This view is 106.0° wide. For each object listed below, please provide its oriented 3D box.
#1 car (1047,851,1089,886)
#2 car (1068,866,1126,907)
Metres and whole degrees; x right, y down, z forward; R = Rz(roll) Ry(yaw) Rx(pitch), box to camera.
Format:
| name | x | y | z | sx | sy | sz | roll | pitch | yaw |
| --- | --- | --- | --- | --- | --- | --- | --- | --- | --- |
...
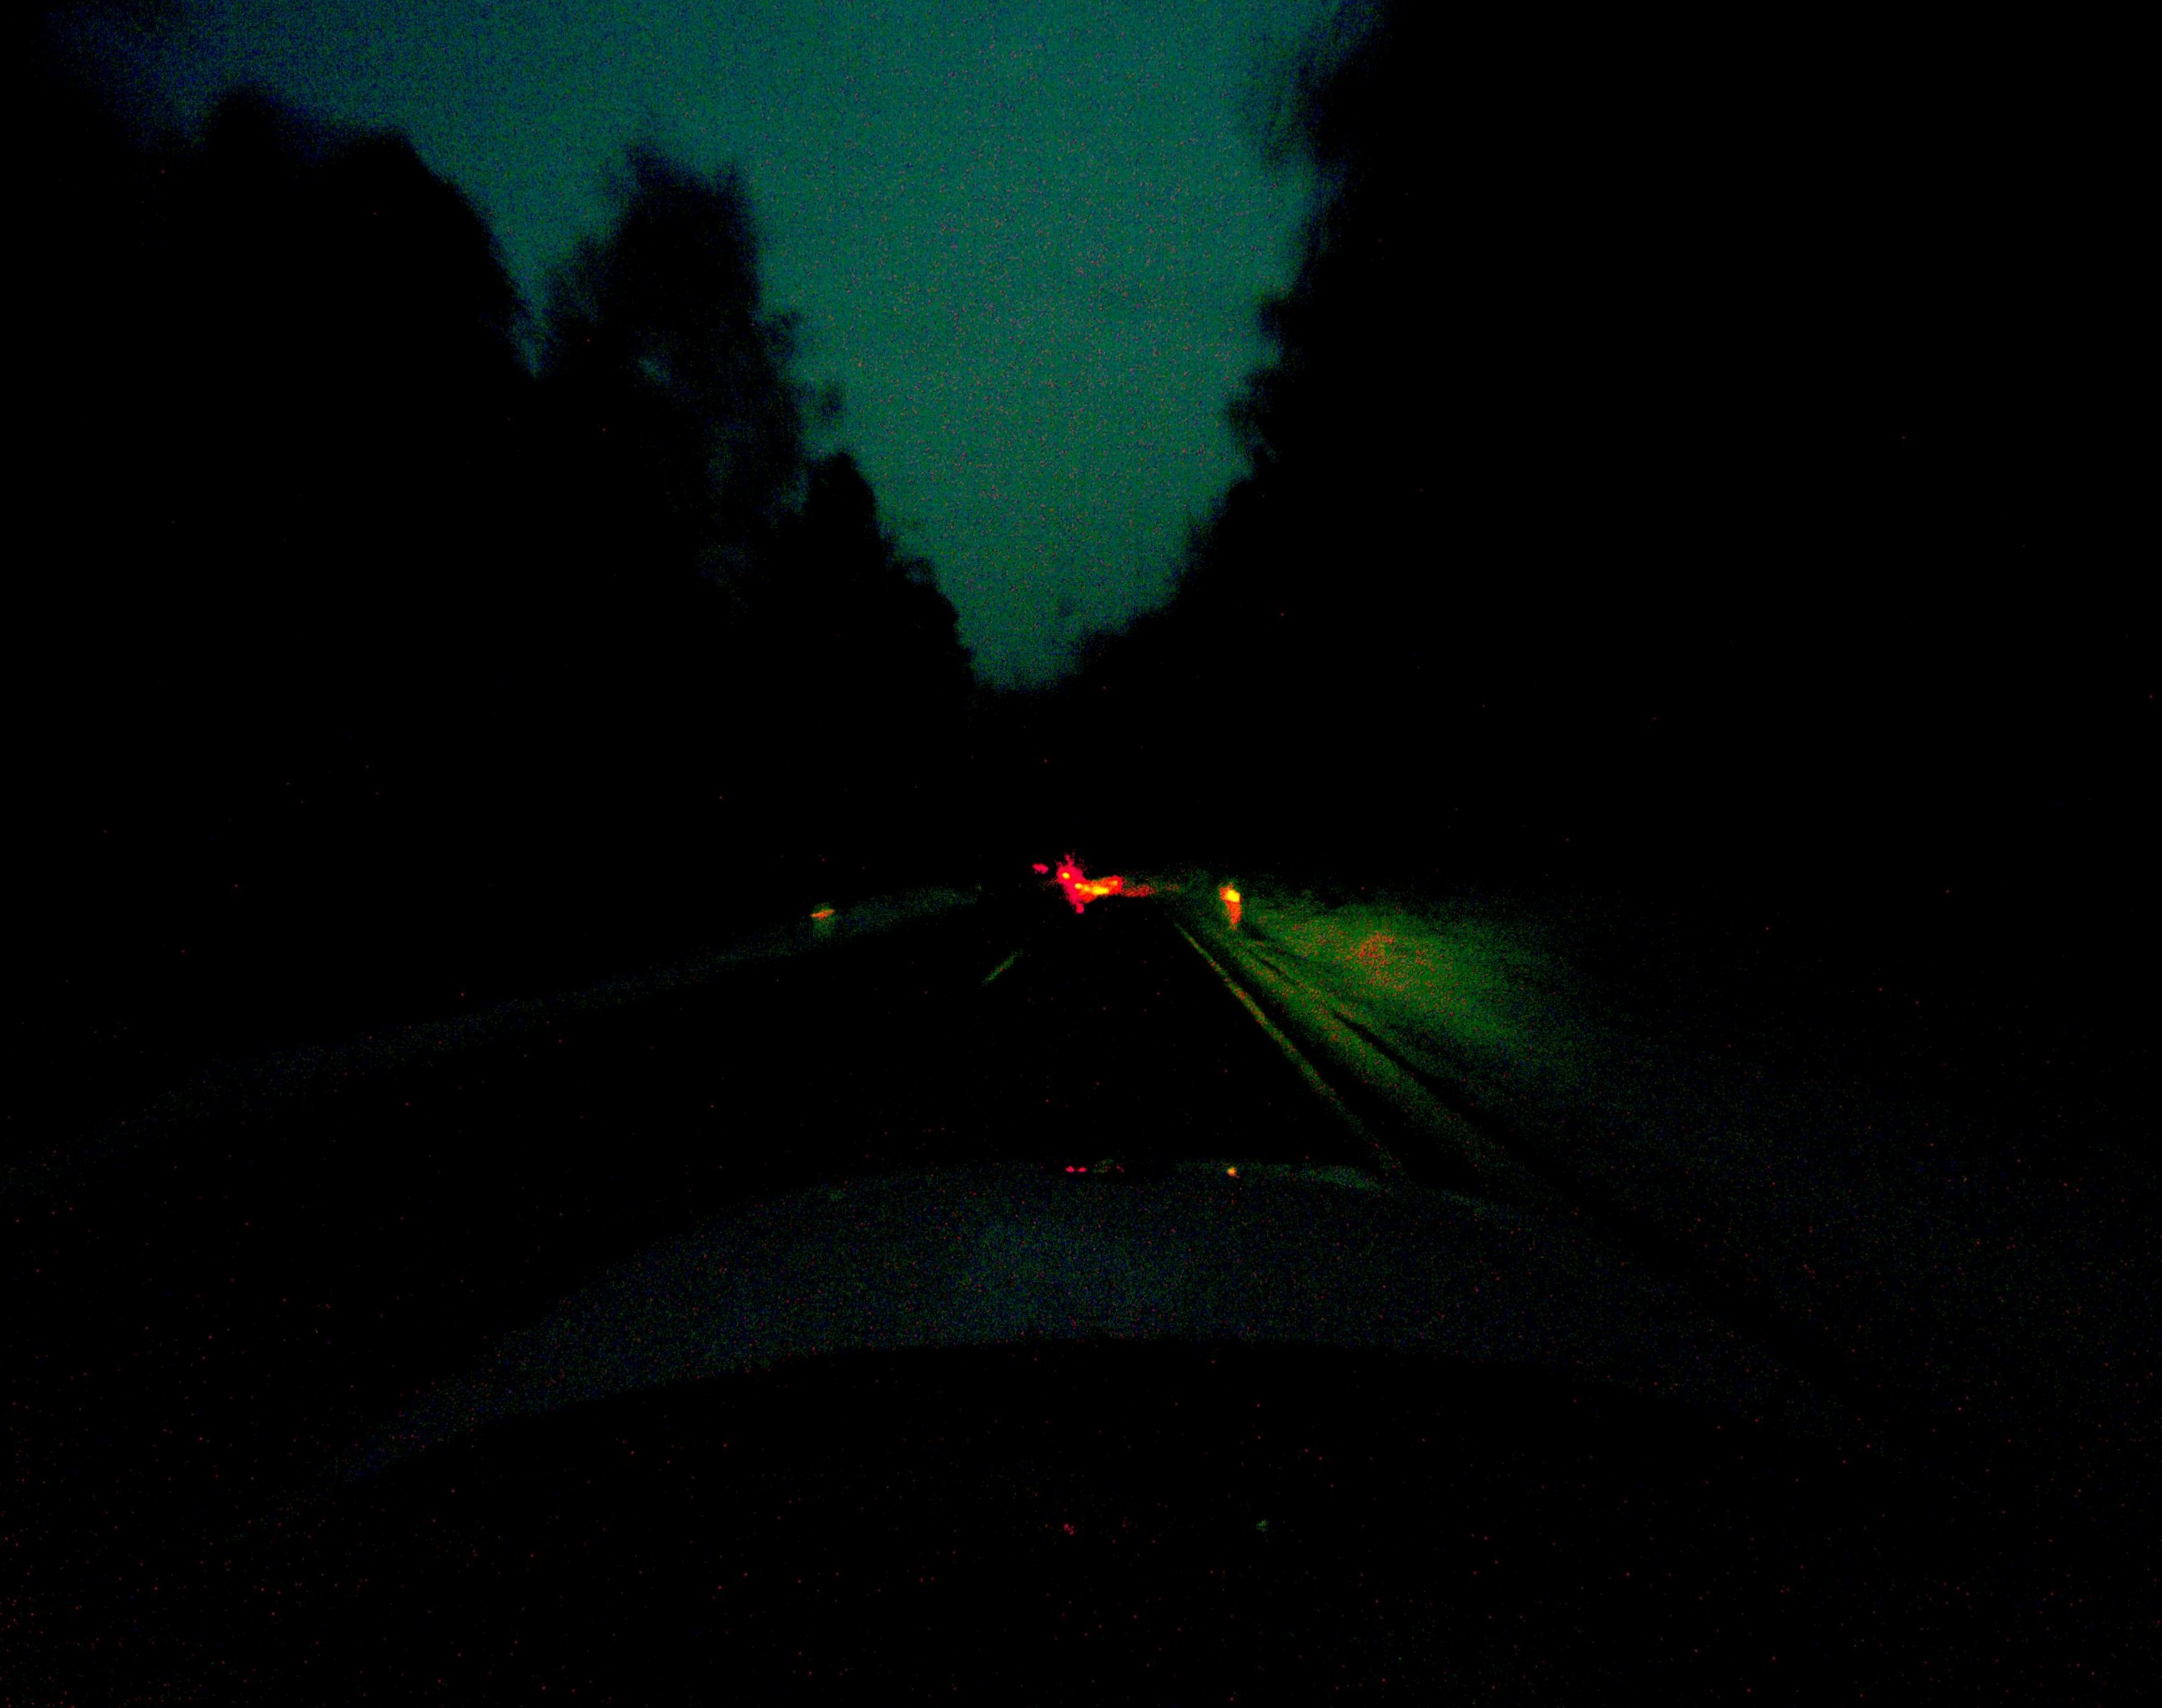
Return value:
| name | x | y | z | sx | sy | sz | roll | pitch | yaw |
| --- | --- | --- | --- | --- | --- | --- | --- | --- | --- |
| car | -0.802 | 0.910 | 48.049 | 1.991 | 1.784 | 3.988 | 3 | -5 | -7 |
| car | 0.547 | 1.249 | 29.888 | 1.939 | 1.382 | 3.998 | 1 | -4 | 0 |
